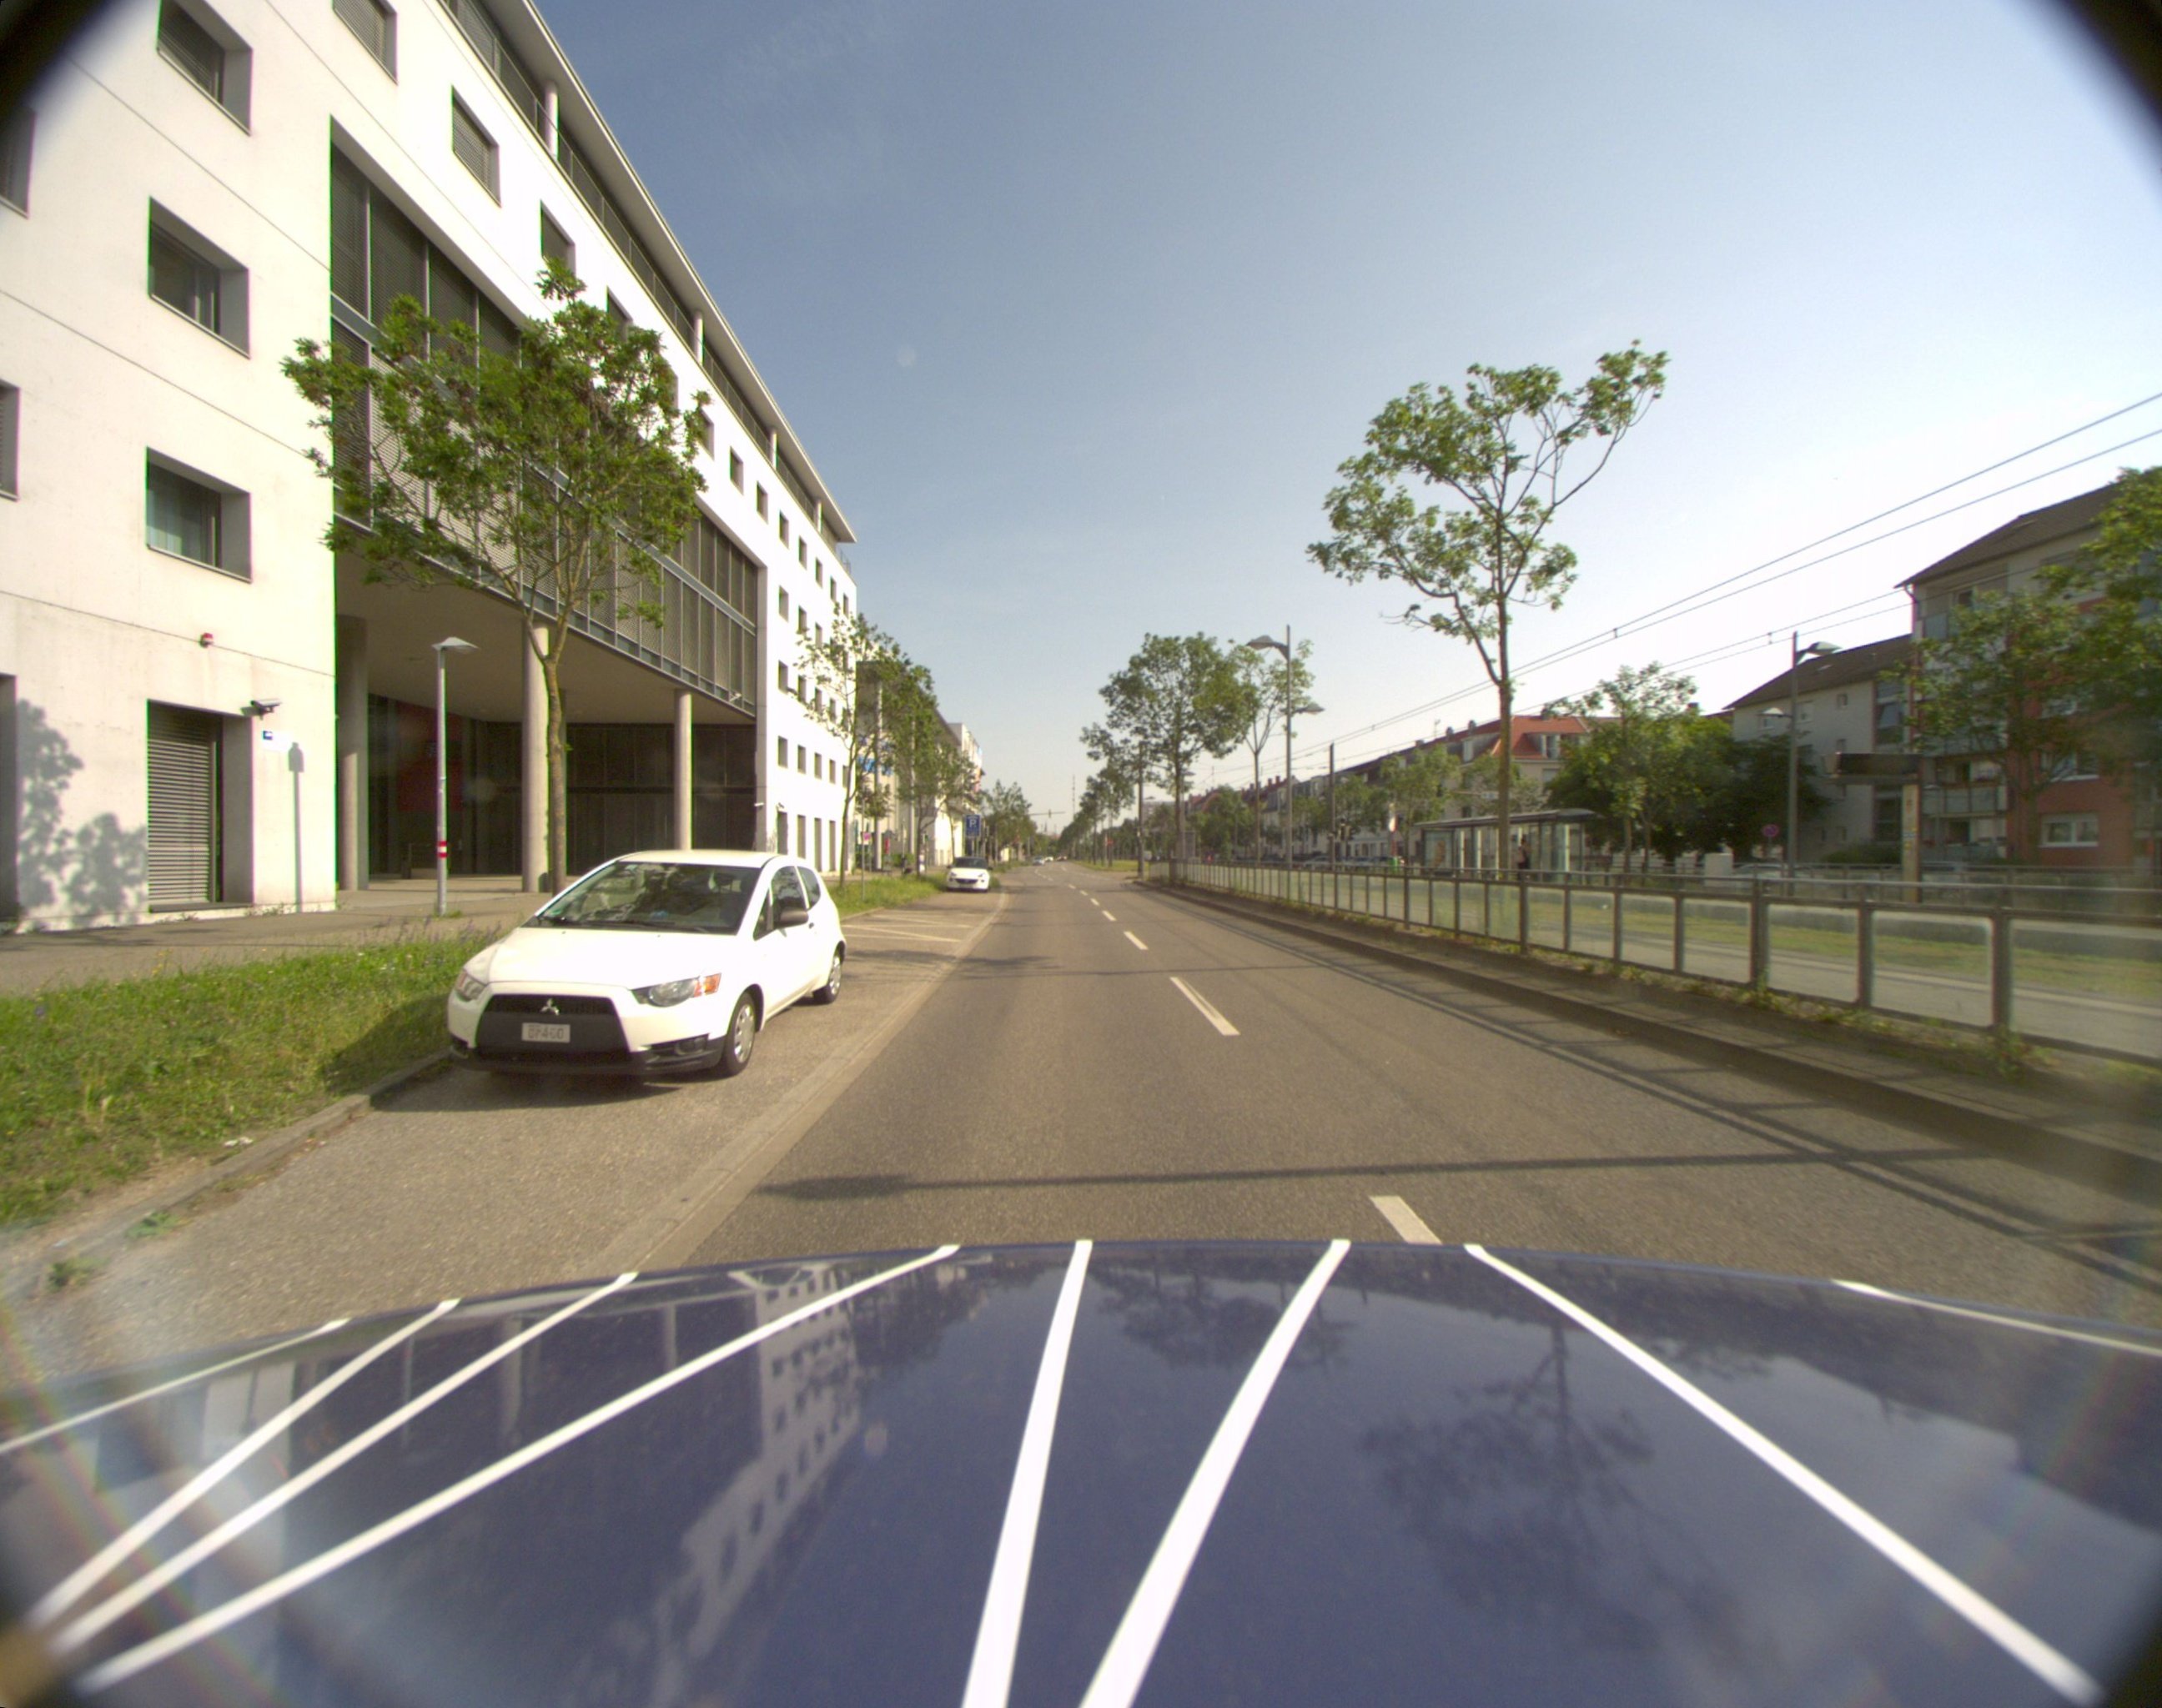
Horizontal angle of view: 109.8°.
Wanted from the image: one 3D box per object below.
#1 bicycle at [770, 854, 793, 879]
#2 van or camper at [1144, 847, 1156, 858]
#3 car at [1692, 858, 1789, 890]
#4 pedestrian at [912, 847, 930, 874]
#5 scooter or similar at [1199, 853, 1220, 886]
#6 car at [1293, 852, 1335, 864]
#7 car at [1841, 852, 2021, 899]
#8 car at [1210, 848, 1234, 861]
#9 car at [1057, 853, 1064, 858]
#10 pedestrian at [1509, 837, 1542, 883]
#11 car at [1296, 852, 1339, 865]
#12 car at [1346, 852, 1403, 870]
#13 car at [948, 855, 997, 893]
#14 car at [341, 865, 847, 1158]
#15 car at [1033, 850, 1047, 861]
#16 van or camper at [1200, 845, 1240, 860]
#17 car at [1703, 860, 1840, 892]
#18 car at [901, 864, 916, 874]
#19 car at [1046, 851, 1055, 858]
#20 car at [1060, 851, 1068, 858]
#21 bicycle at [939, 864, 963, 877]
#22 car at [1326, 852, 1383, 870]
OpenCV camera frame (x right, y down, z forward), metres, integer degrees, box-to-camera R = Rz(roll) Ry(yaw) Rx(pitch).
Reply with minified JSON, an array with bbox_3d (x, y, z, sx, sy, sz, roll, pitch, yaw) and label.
[{"bbox_3d":[-13.452,0.530,34.128,0.495,1.080,1.549,2,0,-5],"label":"bicycle"},{"bbox_3d":[16.658,-0.407,183.426,2.147,2.459,6.057,2,0,-2],"label":"van or camper"},{"bbox_3d":[38.754,1.142,44.714,3.997,1.685,1.999,-2,1,-1],"label":"car"},{"bbox_3d":[-9.702,0.403,46.130,0.778,1.606,0.714,0,1,25],"label":"pedestrian"},{"bbox_3d":[4.816,0.566,28.339,0.426,1.231,1.264,1,1,25],"label":"scooter or similar"},{"bbox_3d":[25.157,0.462,82.036,3.989,1.251,1.879,0,0,31],"label":"car"},{"bbox_3d":[29.106,0.682,26.205,1.838,1.462,3.825,-2,1,-3],"label":"car"},{"bbox_3d":[18.698,0.053,101.102,1.999,1.696,4.711,3,0,-3],"label":"car"},{"bbox_3d":[-6.349,0.403,237.987,1.999,1.652,3.999,0,0,-2],"label":"car"},{"bbox_3d":[15.944,0.212,27.266,0.673,1.643,0.794,0,1,-6],"label":"pedestrian"},{"bbox_3d":[24.707,0.477,79.256,3.990,1.262,1.890,-1,1,28],"label":"car"},{"bbox_3d":[25.401,0.597,65.782,4.341,1.455,1.967,-1,1,31],"label":"car"},{"bbox_3d":[-4.539,0.819,32.202,1.725,1.510,3.780,0,0,-3],"label":"car"},{"bbox_3d":[-3.185,0.862,5.995,1.694,1.517,3.849,0,0,-4],"label":"car"},{"bbox_3d":[-6.262,0.238,115.658,1.999,1.652,3.999,0,0,-2],"label":"car"},{"bbox_3d":[23.804,-0.294,130.298,6.144,2.532,2.419,0,1,35],"label":"van or camper"},{"bbox_3d":[28.672,0.863,31.740,1.838,1.141,4.163,-2,0,-3],"label":"car"},{"bbox_3d":[-10.491,0.892,46.273,0.766,0.584,0.499,0,1,26],"label":"car"},{"bbox_3d":[-6.893,0.169,172.300,1.999,1.652,3.999,0,0,-2],"label":"car"},{"bbox_3d":[-4.122,0.189,184.459,1.999,1.652,3.999,0,0,-2],"label":"car"},{"bbox_3d":[-7.929,1.002,46.348,1.273,0.629,0.521,6,1,5],"label":"bicycle"},{"bbox_3d":[24.916,0.611,69.285,4.452,1.505,2.004,-1,1,34],"label":"car"}]
